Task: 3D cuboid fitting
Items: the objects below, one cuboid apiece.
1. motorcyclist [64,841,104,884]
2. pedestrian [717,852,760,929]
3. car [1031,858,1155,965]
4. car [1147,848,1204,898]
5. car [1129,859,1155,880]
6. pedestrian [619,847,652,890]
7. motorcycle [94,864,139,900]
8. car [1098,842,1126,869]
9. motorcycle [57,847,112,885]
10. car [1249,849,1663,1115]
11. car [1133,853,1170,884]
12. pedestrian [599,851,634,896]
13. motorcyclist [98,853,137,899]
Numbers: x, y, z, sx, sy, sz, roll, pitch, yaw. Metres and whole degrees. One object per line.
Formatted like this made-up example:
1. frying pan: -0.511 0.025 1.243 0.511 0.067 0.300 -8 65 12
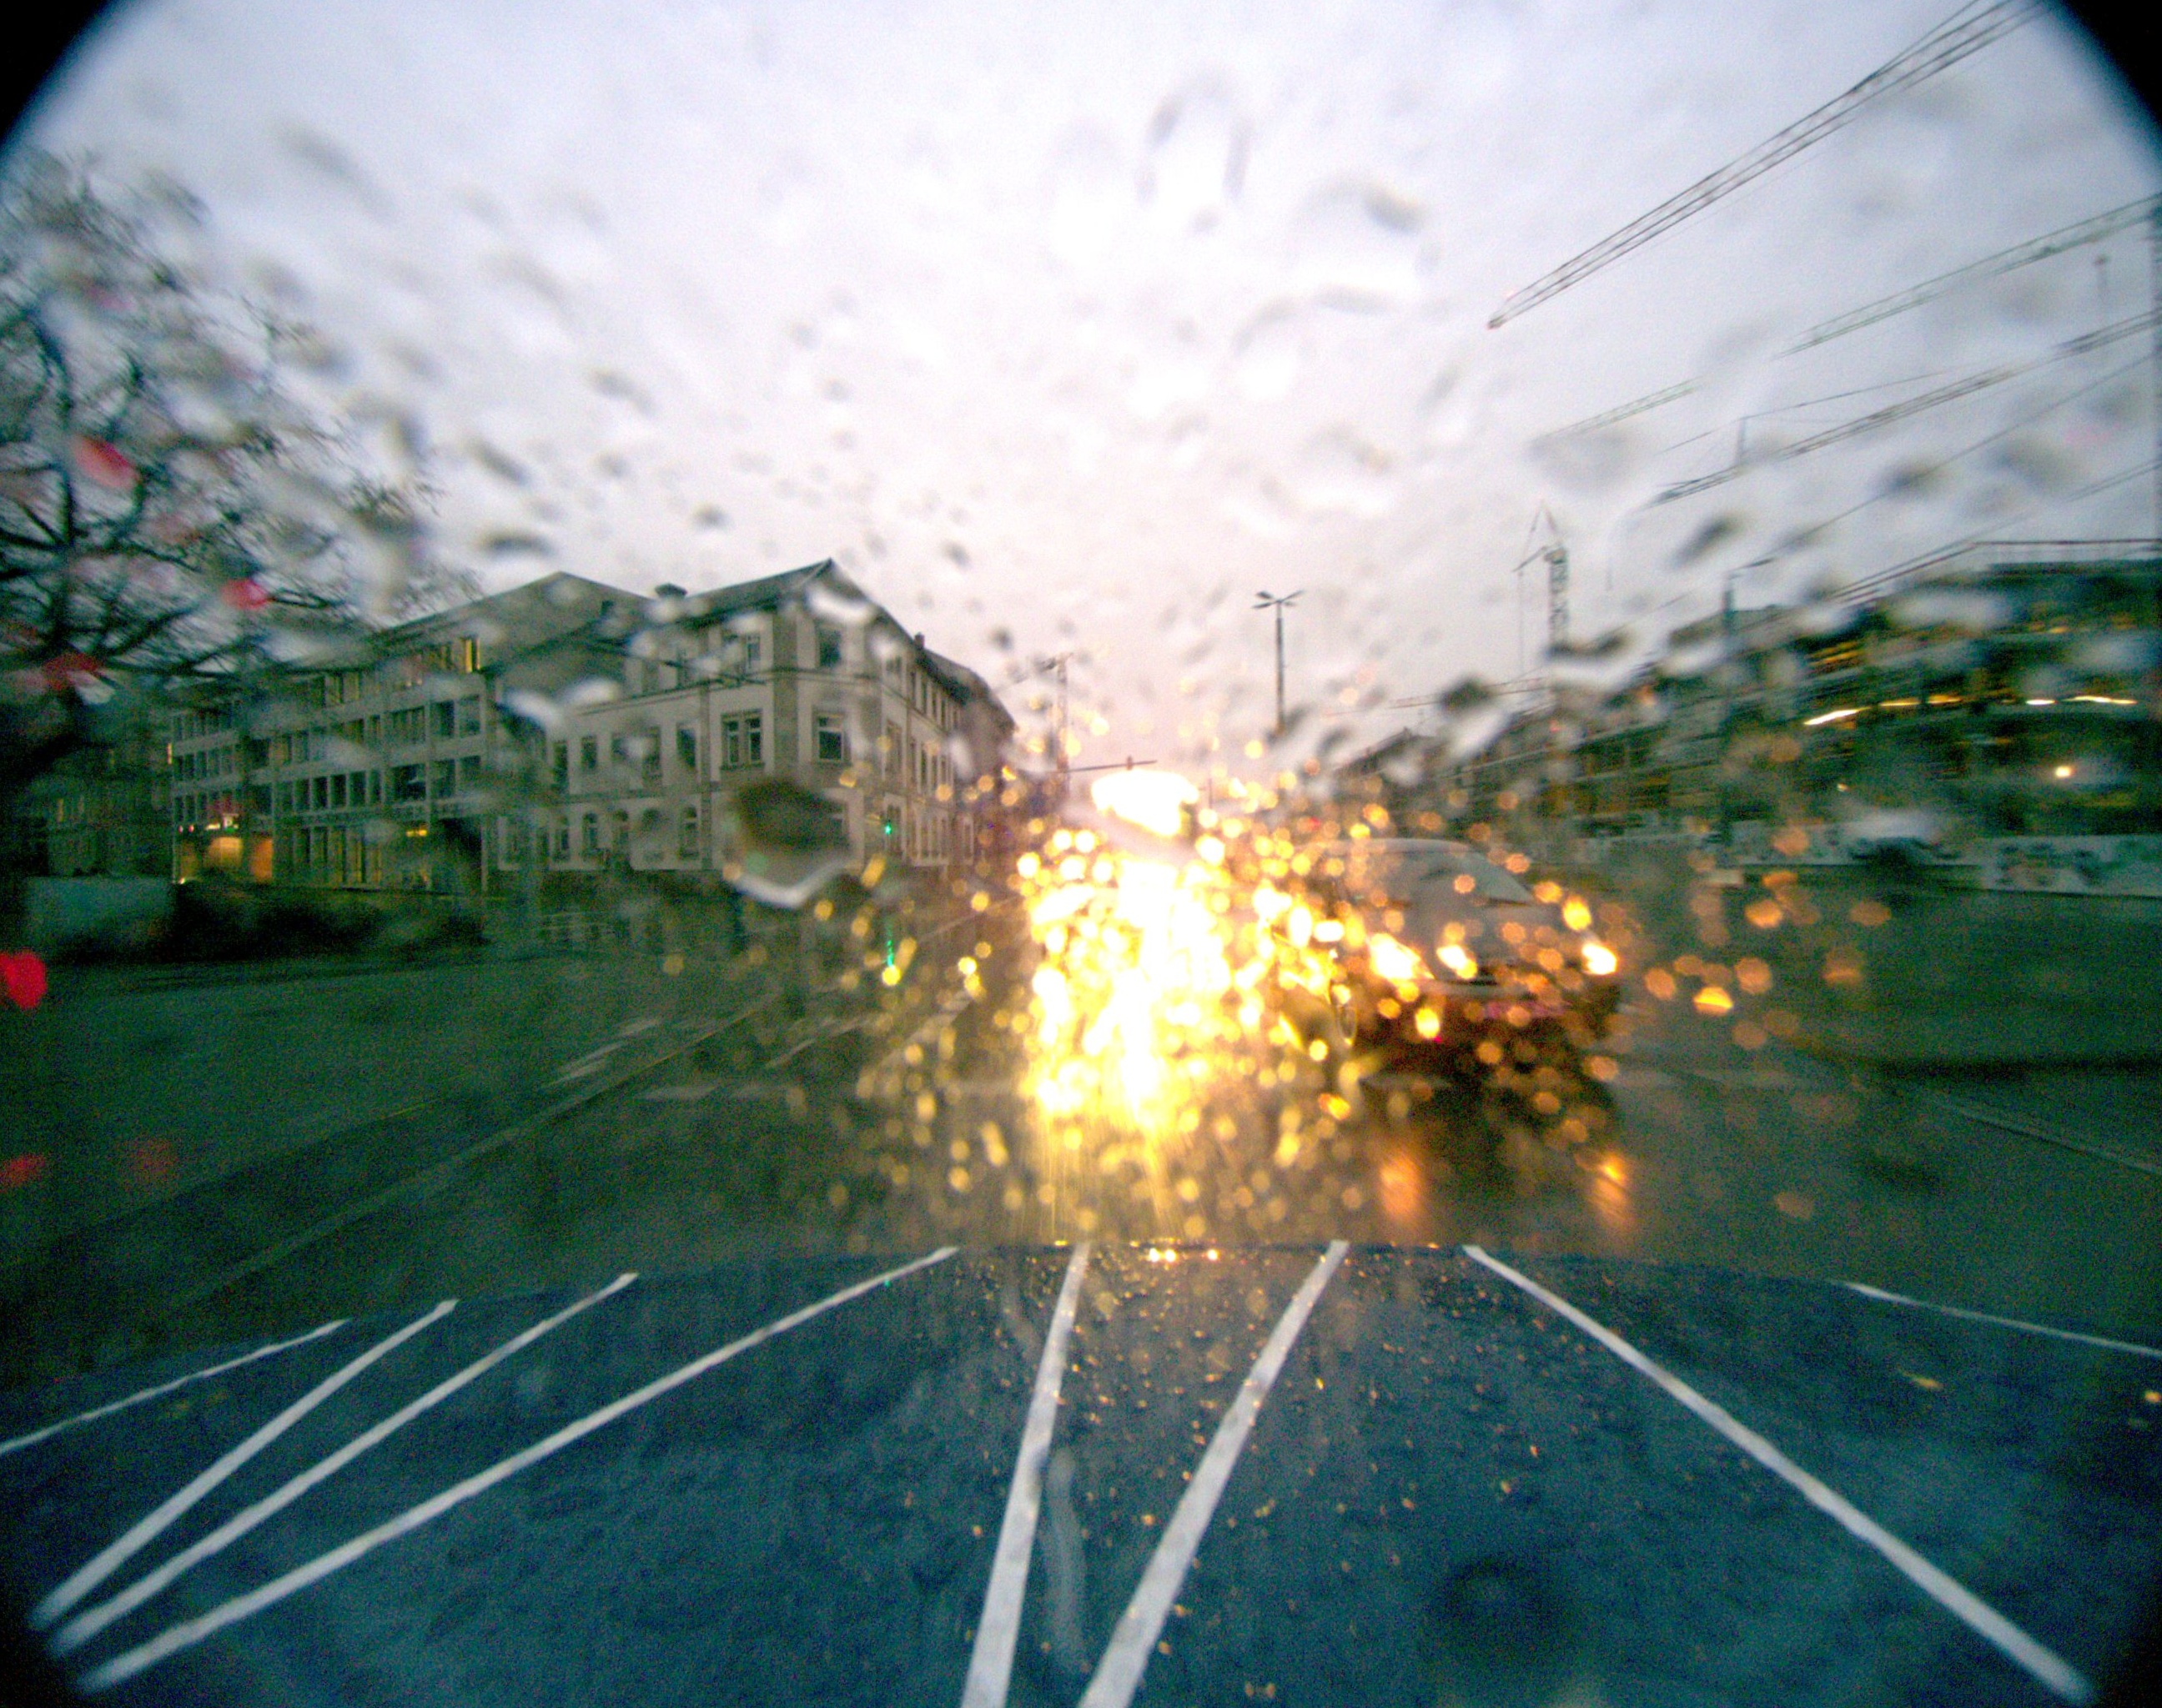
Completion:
1. motorcyclist: -51.028 0.441 38.881 1.192 2.155 0.950 -2 1 26
2. pedestrian: -8.548 0.900 18.950 0.713 1.868 0.676 -1 1 42
3. car: 0.197 0.850 13.054 1.764 1.443 4.000 -2 0 1
4. car: 3.537 0.656 28.960 1.857 1.723 4.001 -2 0 4
5. car: 4.985 1.258 62.378 1.844 1.547 4.000 -2 0 2
6. pedestrian: -20.592 0.669 35.134 0.975 1.969 0.869 -2 1 25
7. motorcycle: -44.054 1.277 34.689 3.516 1.550 0.950 -2 1 34
8. car: 2.258 0.073 56.455 1.858 1.886 4.000 -2 0 1
9. motorcycle: -51.010 0.607 38.879 3.517 1.834 0.950 -2 1 26
10. car: 2.737 0.781 6.660 1.764 1.584 4.000 -2 0 3
11. car: 4.150 0.820 45.212 1.844 1.644 4.324 -2 0 1
12. pedestrian: -20.994 0.881 34.322 0.975 1.969 0.869 -2 1 25
13. motorcyclist: -43.998 1.017 34.692 1.027 2.042 0.950 -1 1 34
